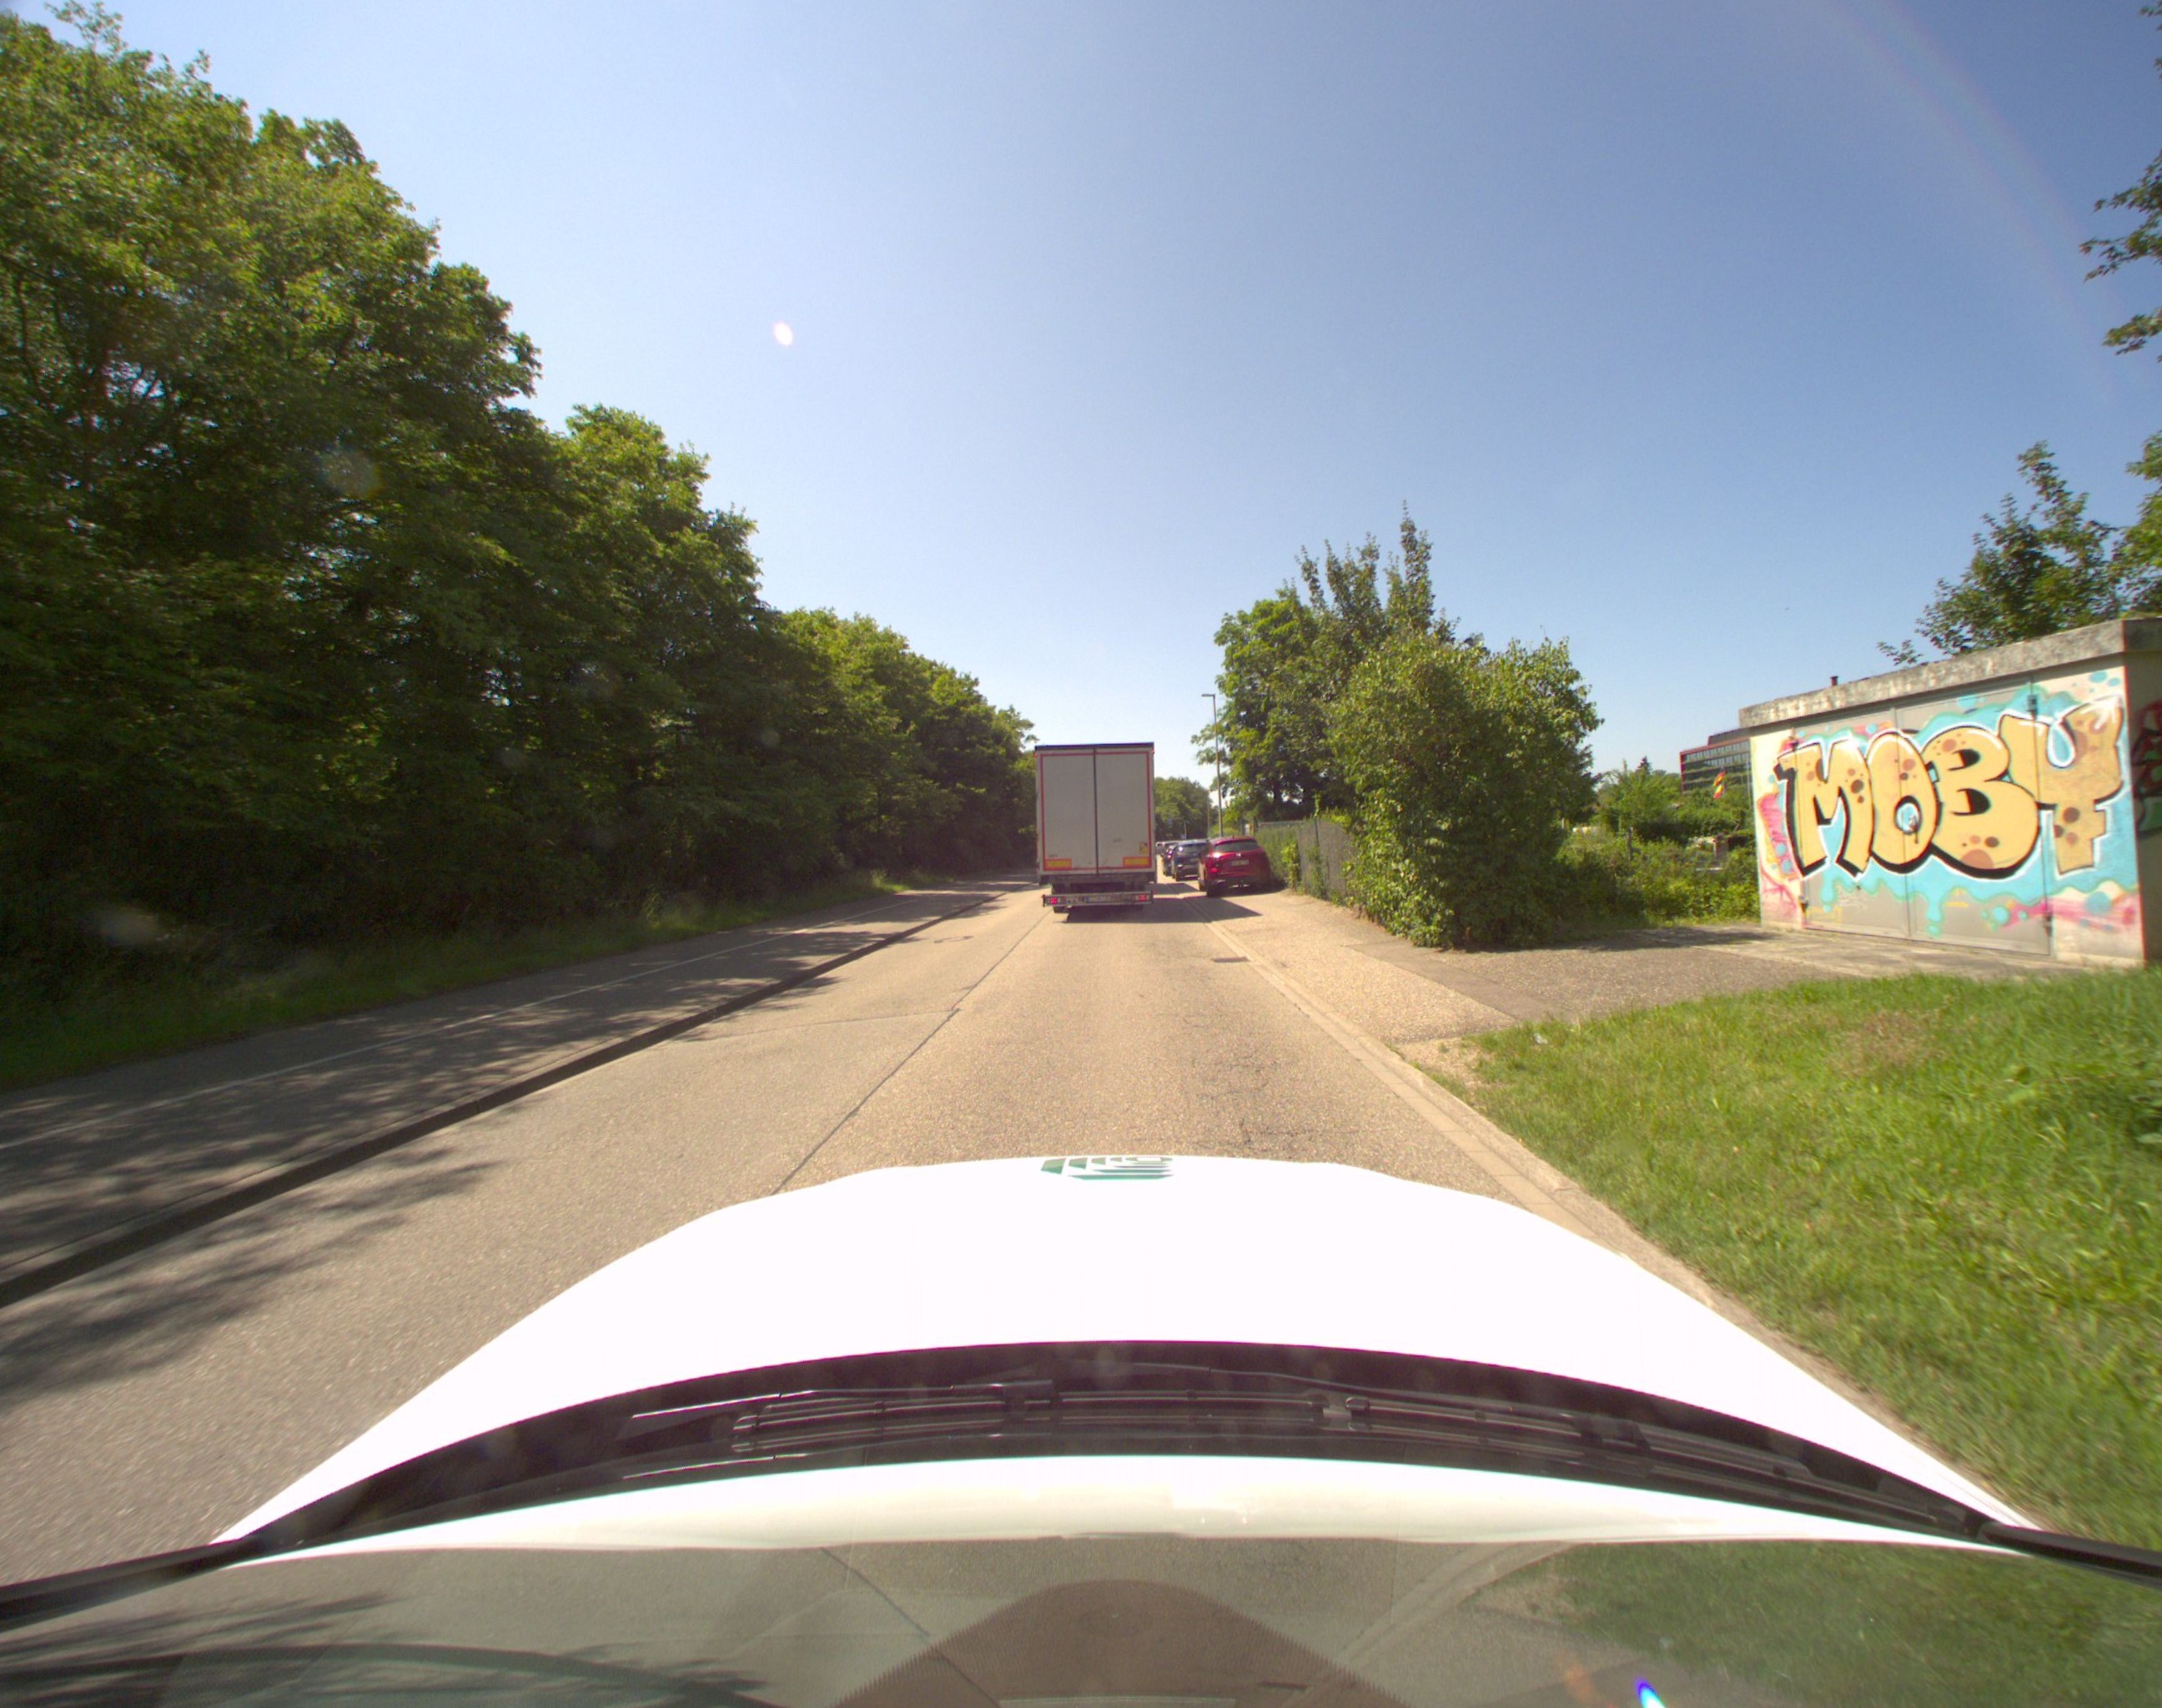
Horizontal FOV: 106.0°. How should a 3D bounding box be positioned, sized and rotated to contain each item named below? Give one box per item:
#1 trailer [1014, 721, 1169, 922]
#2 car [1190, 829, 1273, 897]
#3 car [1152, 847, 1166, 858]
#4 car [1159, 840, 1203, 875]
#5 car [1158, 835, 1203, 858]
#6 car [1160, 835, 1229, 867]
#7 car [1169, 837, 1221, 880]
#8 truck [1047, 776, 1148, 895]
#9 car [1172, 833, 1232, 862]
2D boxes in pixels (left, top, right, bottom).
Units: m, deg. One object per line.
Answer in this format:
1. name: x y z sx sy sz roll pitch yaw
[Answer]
1. trailer: 0.415 -0.731 22.940 3.101 4.102 11.542 -2 0 2
2. car: 4.442 0.219 24.609 1.782 1.658 4.457 -6 0 4
3. car: 11.665 -0.220 121.887 1.770 1.486 4.010 -2 1 9
4. car: 4.981 0.142 40.968 1.782 1.481 4.670 -6 0 4
5. car: 10.705 -0.811 87.527 4.596 1.848 2.000 -7 0 7
6. car: 7.850 -0.232 56.685 4.452 1.704 1.915 -7 0 3
7. car: 4.789 0.142 34.756 1.782 1.603 4.133 -4 1 3
8. truck: 0.662 -0.628 29.589 3.102 3.725 6.417 -2 0 2
9. car: 9.075 -0.518 61.438 4.235 1.698 1.857 -6 0 6
